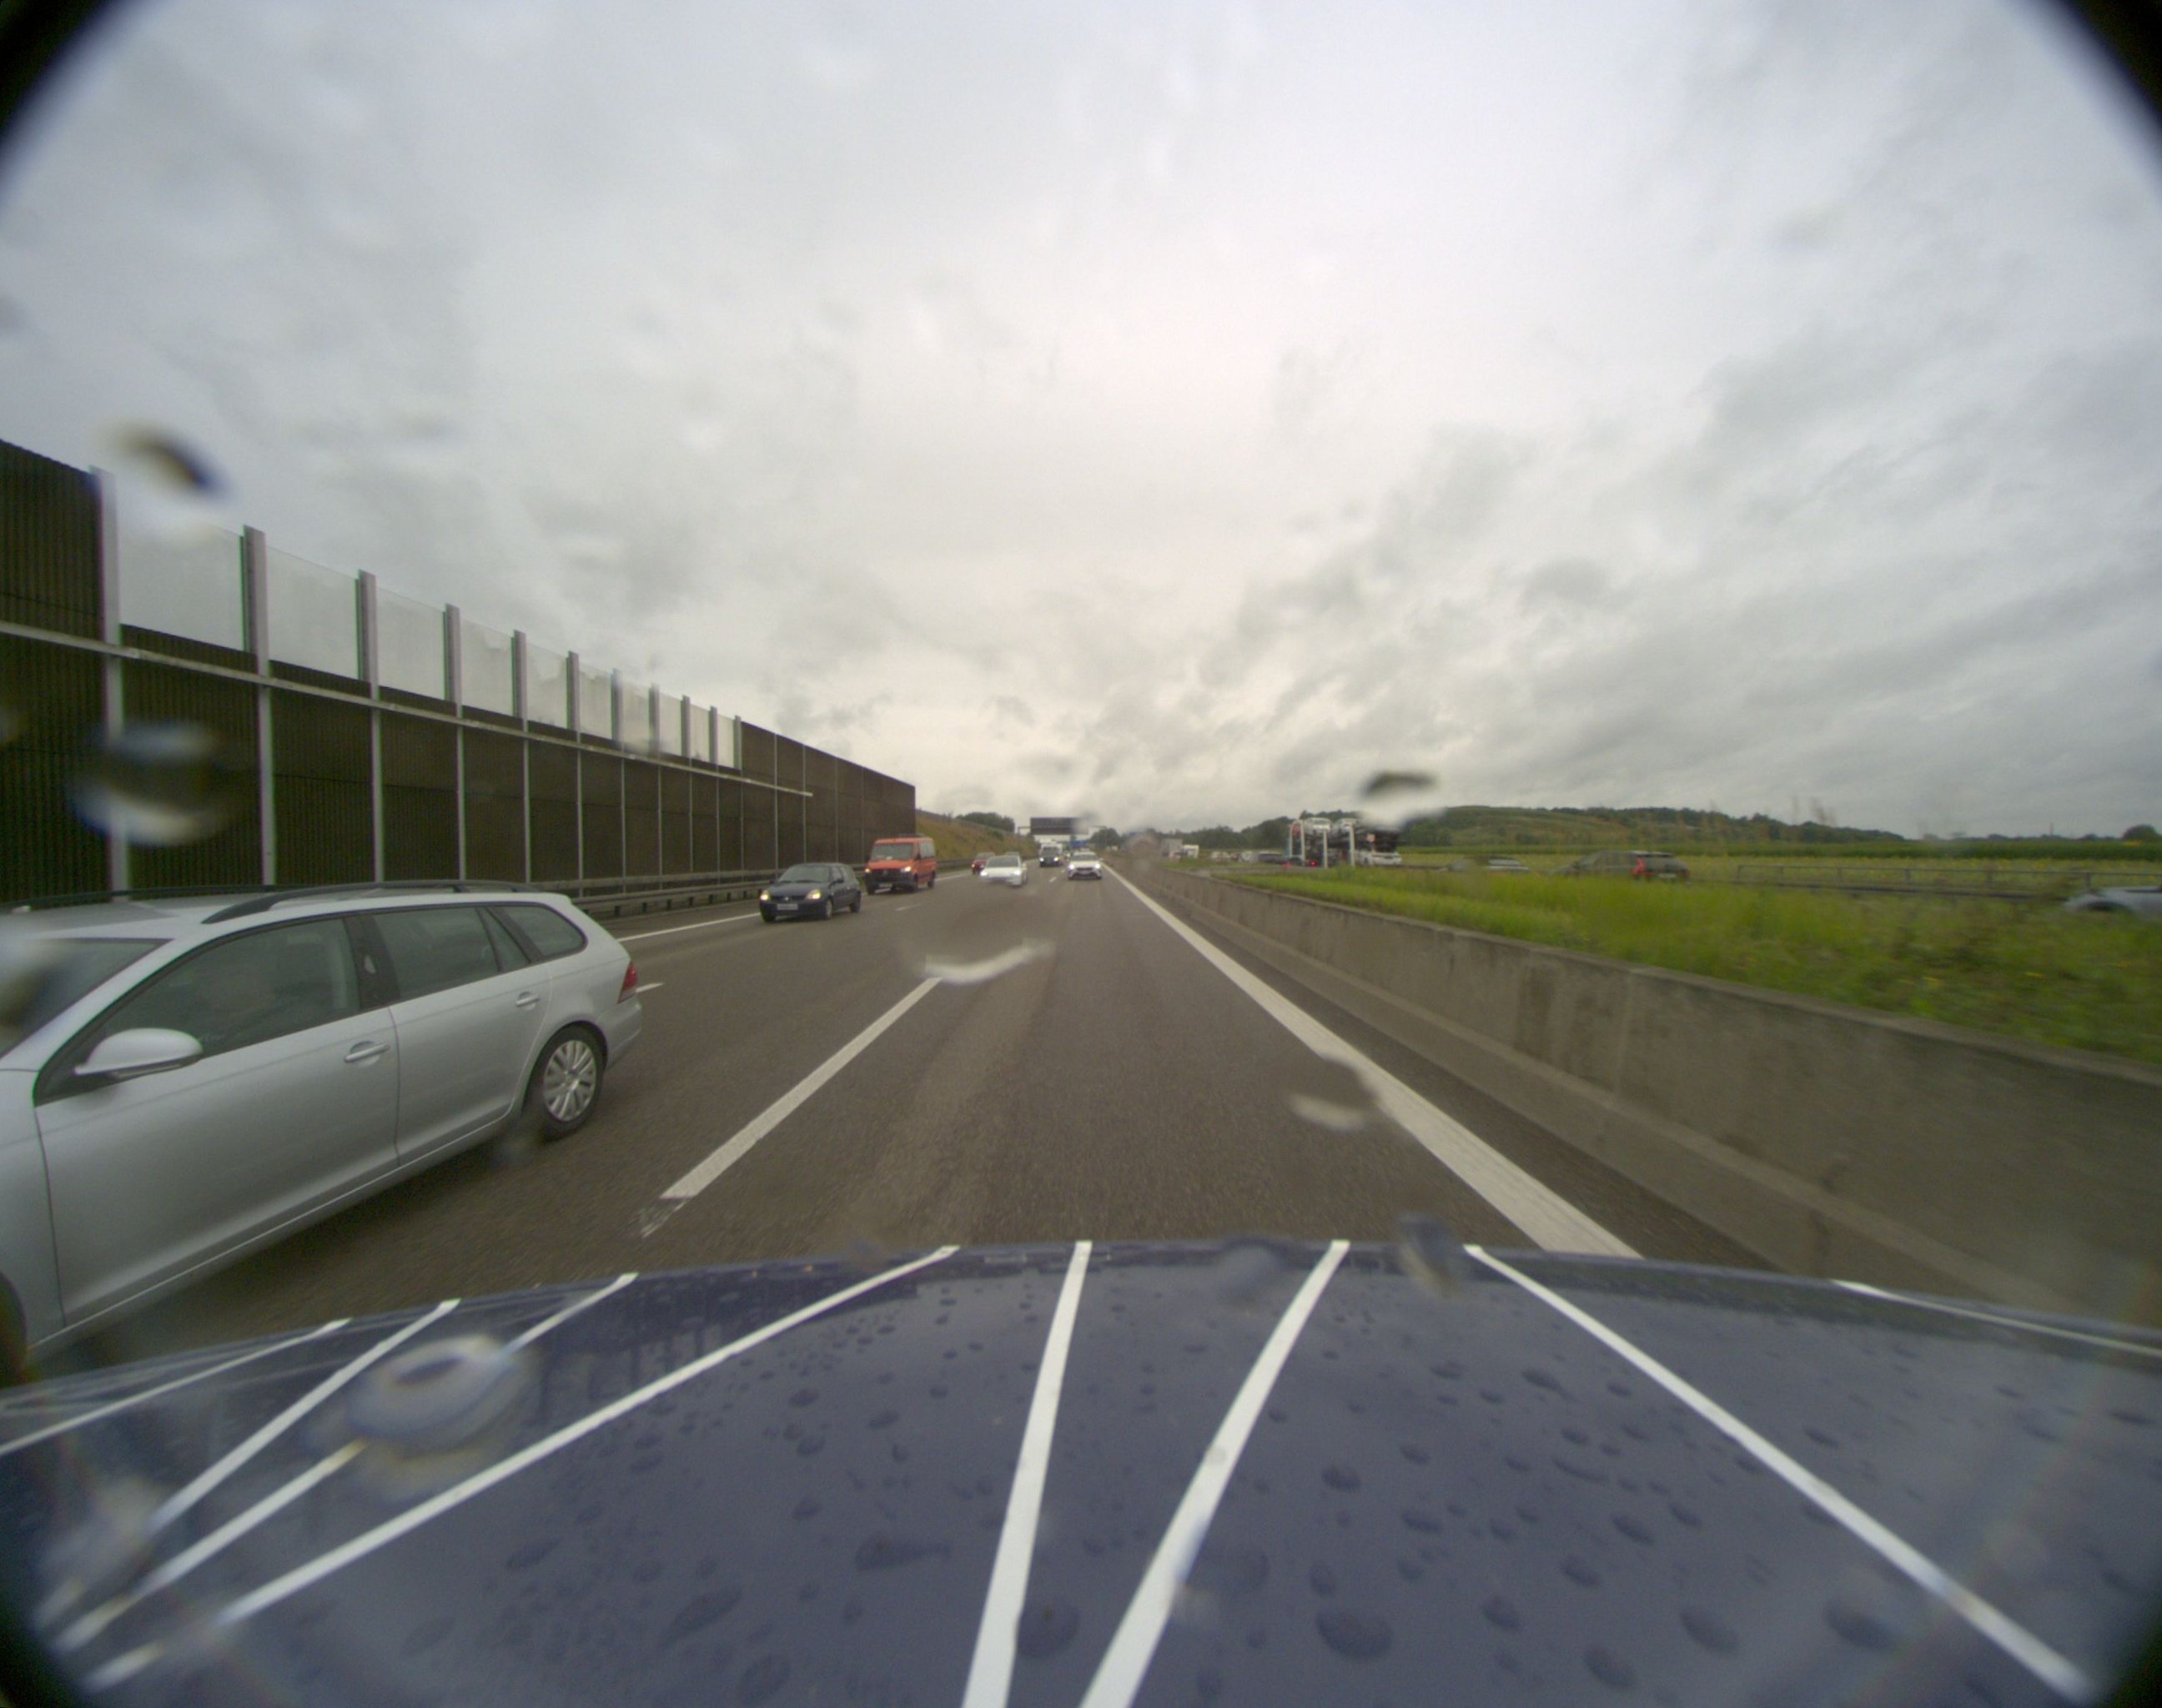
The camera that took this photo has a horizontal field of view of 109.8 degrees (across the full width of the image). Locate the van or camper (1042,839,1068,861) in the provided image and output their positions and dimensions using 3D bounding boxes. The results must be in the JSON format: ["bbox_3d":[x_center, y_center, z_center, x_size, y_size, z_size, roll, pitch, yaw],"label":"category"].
[{"bbox_3d":[-2.826,-0.491,83.840,2.432,2.139,6.497,-2,1,1],"label":"van or camper"}]

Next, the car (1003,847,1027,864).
[{"bbox_3d":[-6.664,0.141,77.003,1.929,1.480,4.484,-2,1,0],"label":"car"}]

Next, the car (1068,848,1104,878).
[{"bbox_3d":[0.306,0.458,42.258,1.841,1.455,3.999,-2,1,1],"label":"car"}]

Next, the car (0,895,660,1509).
[{"bbox_3d":[-3.750,1.031,2.869,1.746,1.417,4.516,-1,1,0],"label":"car"}]

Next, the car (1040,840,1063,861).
[{"bbox_3d":[-3.002,-0.358,78.247,1.998,2.002,4.937,-2,1,1],"label":"car"}]

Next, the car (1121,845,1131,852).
[{"bbox_3d":[10.971,-1.359,185.784,1.998,1.754,5.070,0,1,0],"label":"car"}]

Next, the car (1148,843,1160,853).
[{"bbox_3d":[14.682,-1.288,152.576,1.888,1.913,5.277,0,1,0],"label":"car"}]

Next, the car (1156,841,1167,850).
[{"bbox_3d":[18.713,-2.064,176.837,1.998,2.002,4.620,-1,1,1],"label":"car"}]

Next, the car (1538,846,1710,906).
[{"bbox_3d":[17.203,0.611,24.482,2.098,1.700,4.961,-1,1,2],"label":"car"}]

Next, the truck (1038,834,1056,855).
[{"bbox_3d":[-6.636,-1.861,147.436,3.090,4.003,6.954,-2,1,-1],"label":"truck"}]

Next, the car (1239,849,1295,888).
[{"bbox_3d":[9.036,0.653,37.182,1.819,1.805,3.999,0,1,1],"label":"car"}]

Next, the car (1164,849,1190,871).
[{"bbox_3d":[9.187,0.545,73.070,1.932,1.868,4.589,-2,1,1],"label":"car"}]

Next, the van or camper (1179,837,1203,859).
[{"bbox_3d":[18.556,-1.088,128.370,2.716,3.483,7.697,-3,1,-2],"label":"van or camper"}]

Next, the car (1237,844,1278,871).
[{"bbox_3d":[13.375,0.219,57.917,1.998,1.868,5.031,-2,1,1],"label":"car"}]

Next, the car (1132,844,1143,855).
[{"bbox_3d":[10.798,-0.892,145.564,1.888,1.913,4.172,0,1,0],"label":"car"}]

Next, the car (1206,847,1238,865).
[{"bbox_3d":[13.948,0.164,75.521,2.099,1.700,5.164,-1,1,0],"label":"car"}]

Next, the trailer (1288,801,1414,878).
[{"bbox_3d":[17.537,-1.000,51.134,3.006,4.218,15.704,-2,1,1],"label":"trailer"}]

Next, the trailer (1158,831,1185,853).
[{"bbox_3d":[18.434,-2.521,155.616,3.722,4.247,15.620,-2,1,1],"label":"trailer"}]

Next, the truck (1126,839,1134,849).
[{"bbox_3d":[15.608,-3.267,242.540,2.317,2.892,7.422,-2,1,1],"label":"truck"}]

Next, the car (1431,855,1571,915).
[{"bbox_3d":[13.744,0.939,25.289,2.098,1.700,4.799,-1,1,2],"label":"car"}]

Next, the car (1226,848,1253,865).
[{"bbox_3d":[17.601,0.278,84.408,2.098,1.700,4.799,-1,1,2],"label":"car"}]

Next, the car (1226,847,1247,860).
[{"bbox_3d":[20.084,-0.054,98.274,1.889,1.586,3.998,-2,1,-1],"label":"car"}]

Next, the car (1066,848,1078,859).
[{"bbox_3d":[-1.491,-0.142,127.957,1.999,1.759,3.999,-1,1,-2],"label":"car"}]

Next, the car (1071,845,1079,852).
[{"bbox_3d":[-1.527,-1.421,204.779,1.998,1.696,3.999,-2,1,1],"label":"car"}]

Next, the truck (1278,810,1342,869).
[{"bbox_3d":[17.612,-1.120,58.786,2.964,4.218,6.233,-2,1,0],"label":"truck"}]

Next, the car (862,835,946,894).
[{"bbox_3d":[-7.630,0.371,33.425,2.091,2.302,6.180,-1,1,1],"label":"car"}]

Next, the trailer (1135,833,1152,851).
[{"bbox_3d":[14.922,-2.822,183.081,3.093,4.066,12.327,-2,1,1],"label":"trailer"}]

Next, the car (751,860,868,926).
[{"bbox_3d":[-6.981,0.944,19.987,1.707,1.393,3.874,-3,1,-2],"label":"car"}]

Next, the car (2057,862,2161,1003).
[{"bbox_3d":[16.582,1.161,10.113,1.998,2.002,3.999,0,1,1],"label":"car"}]

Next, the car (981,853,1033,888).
[{"bbox_3d":[-3.373,0.706,35.301,1.878,1.355,4.811,-2,1,0],"label":"car"}]

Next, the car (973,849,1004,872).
[{"bbox_3d":[-7.149,0.475,59.079,1.878,1.526,3.999,-2,1,0],"label":"car"}]
